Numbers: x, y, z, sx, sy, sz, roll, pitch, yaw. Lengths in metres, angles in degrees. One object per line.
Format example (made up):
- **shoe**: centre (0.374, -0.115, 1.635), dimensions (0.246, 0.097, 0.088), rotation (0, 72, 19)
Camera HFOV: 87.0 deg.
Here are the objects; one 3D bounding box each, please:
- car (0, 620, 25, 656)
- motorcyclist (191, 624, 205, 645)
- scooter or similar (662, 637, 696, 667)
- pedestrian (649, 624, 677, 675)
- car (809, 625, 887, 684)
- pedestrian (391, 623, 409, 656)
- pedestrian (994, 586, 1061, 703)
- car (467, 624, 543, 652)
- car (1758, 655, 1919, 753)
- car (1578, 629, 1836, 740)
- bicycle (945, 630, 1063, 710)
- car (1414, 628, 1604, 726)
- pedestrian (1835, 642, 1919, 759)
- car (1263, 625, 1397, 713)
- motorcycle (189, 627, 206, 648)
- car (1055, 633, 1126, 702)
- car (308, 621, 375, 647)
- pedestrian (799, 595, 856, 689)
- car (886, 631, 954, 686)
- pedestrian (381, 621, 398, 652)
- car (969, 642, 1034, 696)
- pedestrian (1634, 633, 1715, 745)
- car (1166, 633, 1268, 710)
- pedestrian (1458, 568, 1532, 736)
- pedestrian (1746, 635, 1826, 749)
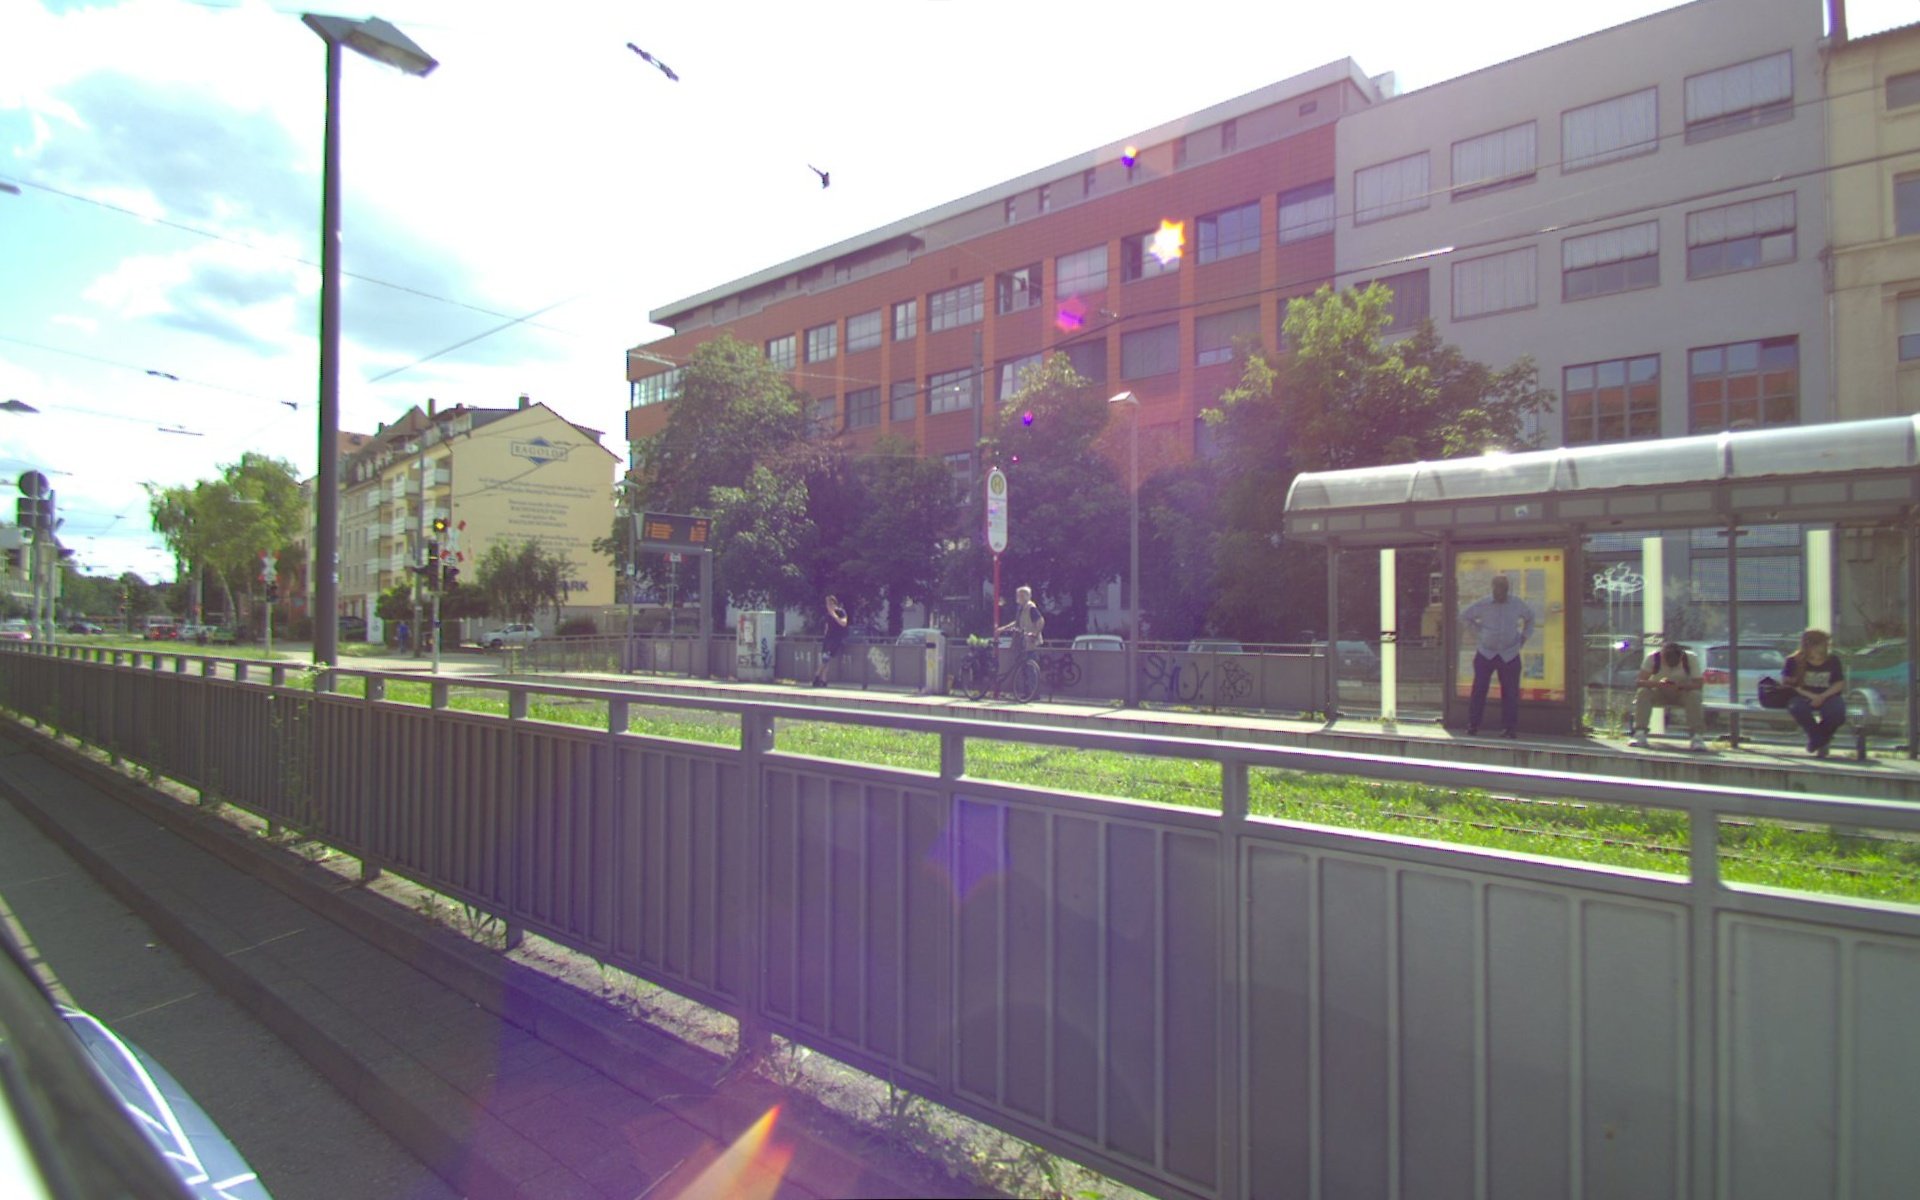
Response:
- **car**: centre (-57.175, 2.263, 60.438), dimensions (1.970, 2.029, 4.004), rotation (0, 0, -43)
- **motorcyclist**: centre (-51.699, 2.334, 68.627), dimensions (0.693, 1.368, 0.654), rotation (0, 0, 43)
- **scooter or similar**: centre (-10.246, 1.892, 36.925), dimensions (0.619, 1.063, 0.976), rotation (-1, -4, 35)
- **pedestrian**: centre (-10.688, 1.775, 36.439), dimensions (0.619, 1.807, 0.651), rotation (-1, -4, 35)
- **car**: centre (-3.335, 1.615, 30.759), dimensions (1.850, 1.671, 3.841), rotation (0, -2, 1)
- **pedestrian**: centre (-29.224, 2.043, 52.802), dimensions (0.481, 1.723, 0.641), rotation (-2, -3, 42)
- **pedestrian**: centre (1.034, 0.669, 15.516), dimensions (0.798, 1.737, 0.632), rotation (0, -2, 38)
- **car**: centre (-25.928, 2.171, 57.737), dimensions (3.558, 1.491, 1.777), rotation (2, -6, -43)
- **car**: centre (14.943, 1.575, 16.156), dimensions (1.774, 1.159, 3.986), rotation (-1, 0, 11)
- **car**: centre (12.670, 1.359, 17.518), dimensions (1.651, 1.540, 3.995), rotation (-1, 0, 4)
- **bicycle**: centre (0.636, 1.032, 15.310), dimensions (0.653, 1.122, 1.880), rotation (4, -4, -41)
- **car**: centre (10.278, 1.372, 19.295), dimensions (1.651, 1.540, 3.994), rotation (-1, 0, 4)
- **pedestrian**: centre (8.356, 0.897, 9.197), dimensions (0.562, 1.002, 0.698), rotation (-1, -3, 38)
- **car**: centre (7.784, 1.412, 21.666), dimensions (1.651, 1.652, 3.994), rotation (2, -2, 4)
- **motorcycle**: centre (-51.679, 2.530, 68.598), dimensions (2.010, 1.414, 0.626), rotation (0, 0, 43)
- **car**: centre (3.260, 1.597, 24.828), dimensions (1.568, 1.431, 3.302), rotation (0, 0, 10)
- **car**: centre (-48.360, 2.658, 79.108), dimensions (4.195, 2.029, 2.003), rotation (2, -2, -40)
- **pedestrian**: centre (-2.500, 0.782, 19.089), dimensions (0.798, 1.712, 0.659), rotation (0, -2, 38)
- **car**: centre (-1.117, 1.680, 29.984), dimensions (1.629, 1.508, 3.996), rotation (0, -2, 3)
- **pedestrian**: centre (-31.530, 2.017, 55.930), dimensions (0.588, 1.723, 0.641), rotation (-2, -3, 42)
- **car**: centre (1.161, 1.794, 27.100), dimensions (1.583, 1.314, 3.247), rotation (0, -2, 5)
- **pedestrian**: centre (7.091, 0.865, 10.036), dimensions (0.623, 1.039, 0.712), rotation (-1, -3, 38)
- **car**: centre (5.646, 1.535, 22.536), dimensions (1.651, 1.420, 3.063), rotation (2, 0, 5)
- **pedestrian**: centre (5.762, 0.544, 10.900), dimensions (0.623, 1.739, 0.481), rotation (-1, -1, 38)
- **pedestrian**: centre (7.980, 0.874, 9.799), dimensions (0.562, 1.039, 0.647), rotation (-1, -3, 38)
